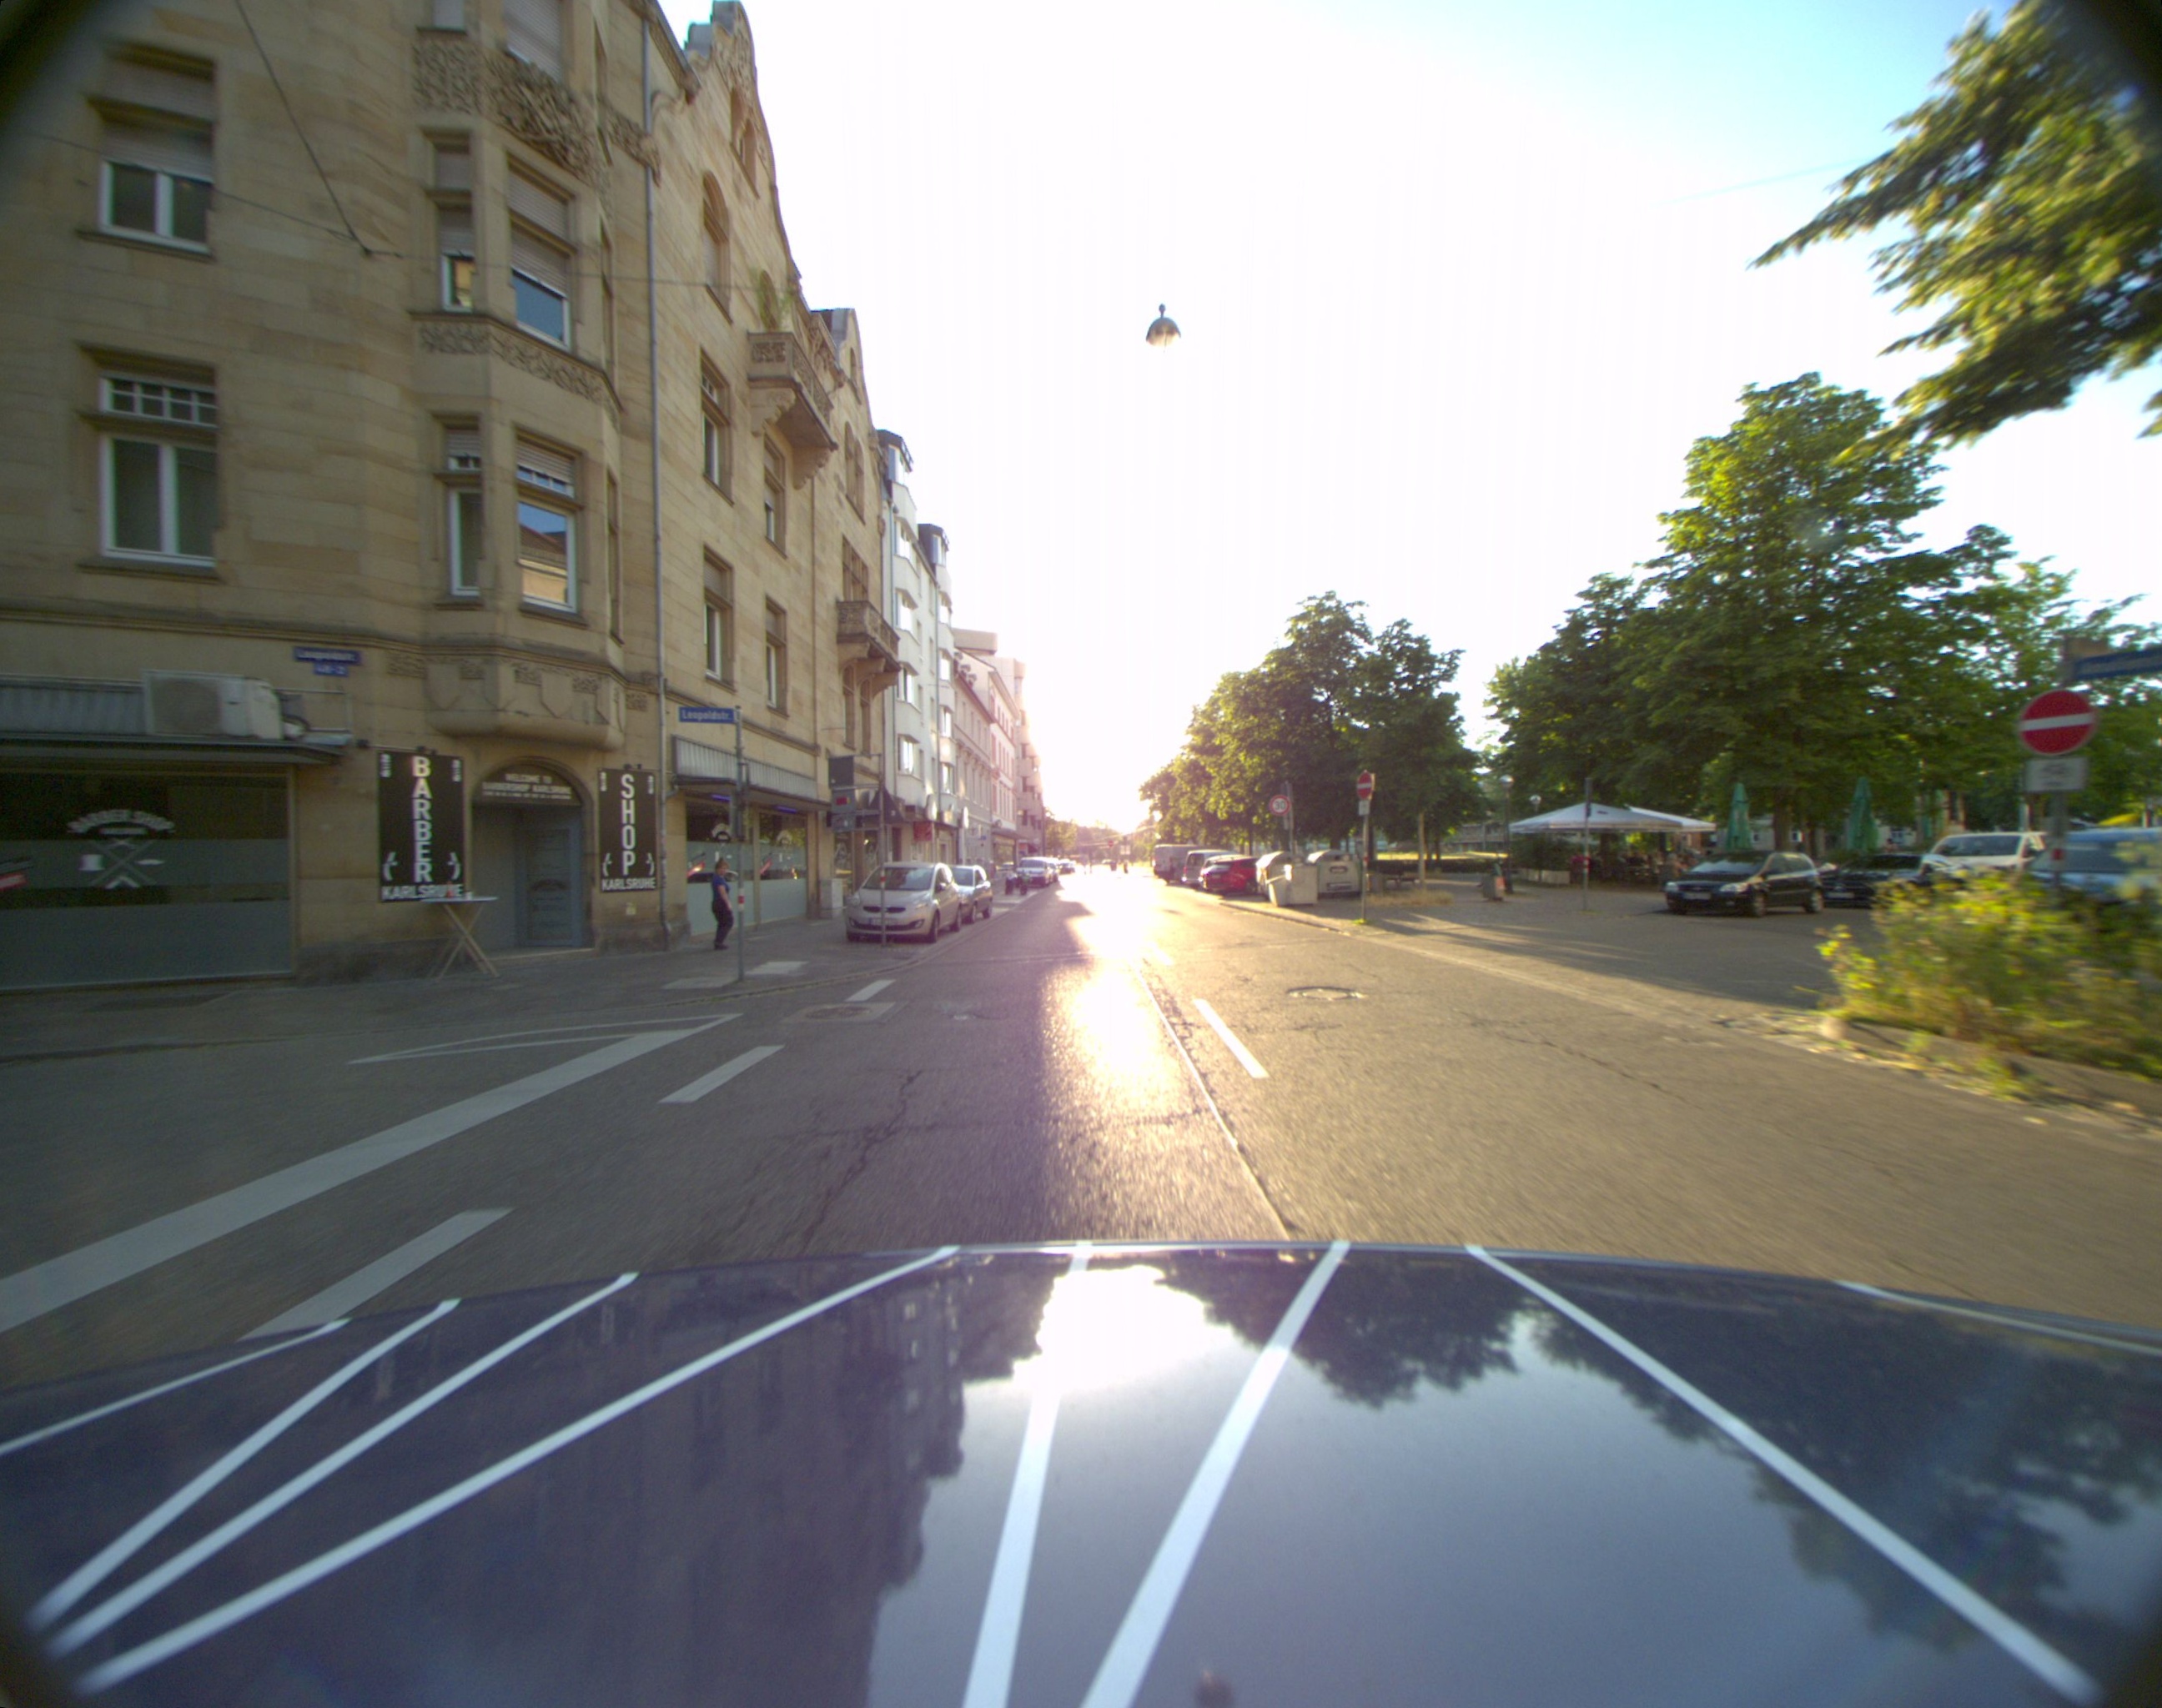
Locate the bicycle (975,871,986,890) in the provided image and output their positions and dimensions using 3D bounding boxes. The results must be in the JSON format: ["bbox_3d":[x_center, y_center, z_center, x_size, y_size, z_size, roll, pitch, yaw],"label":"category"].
[{"bbox_3d":[-5.925,1.542,44.711,0.456,1.006,1.711,-2,1,-13],"label":"bicycle"}]

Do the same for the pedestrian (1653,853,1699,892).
[{"bbox_3d":[18.690,0.583,23.881,0.797,1.192,0.851,0,0,-4],"label":"pedestrian"}]

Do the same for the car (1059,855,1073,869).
[{"bbox_3d":[-1.944,1.061,101.782,1.788,1.793,4.401,-2,-1,-1],"label":"car"}]

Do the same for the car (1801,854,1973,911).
[{"bbox_3d":[20.652,0.692,19.476,3.776,1.230,1.827,-2,-1,-24],"label":"car"}]

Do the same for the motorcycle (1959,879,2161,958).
[{"bbox_3d":[14.152,0.914,10.775,2.094,1.025,0.748,-3,0,23],"label":"motorcycle"}]

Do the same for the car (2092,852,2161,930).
[{"bbox_3d":[22.499,0.686,15.315,3.841,1.403,1.539,-2,0,-21],"label":"car"}]

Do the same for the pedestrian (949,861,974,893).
[{"bbox_3d":[-5.732,1.089,36.516,0.957,1.478,0.992,-2,0,1],"label":"pedestrian"}]

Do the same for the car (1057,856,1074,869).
[{"bbox_3d":[-1.926,1.019,93.005,1.794,1.498,3.921,-2,-1,2],"label":"car"}]

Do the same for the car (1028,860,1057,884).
[{"bbox_3d":[-2.672,1.224,53.283,1.671,1.535,3.883,-2,-1,1],"label":"car"}]

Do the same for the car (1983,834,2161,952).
[{"bbox_3d":[17.076,0.525,12.355,4.438,1.667,1.956,-1,-1,-25],"label":"car"}]

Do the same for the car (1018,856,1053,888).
[{"bbox_3d":[-2.771,1.076,46.980,1.714,1.824,4.307,-2,-1,2],"label":"car"}]

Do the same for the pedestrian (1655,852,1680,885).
[{"bbox_3d":[21.232,0.533,27.528,0.534,1.167,0.527,0,0,8],"label":"pedestrian"}]

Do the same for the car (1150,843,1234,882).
[{"bbox_3d":[6.938,0.514,47.469,4.619,2.238,2.199,-2,0,-26],"label":"car"}]

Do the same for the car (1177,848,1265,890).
[{"bbox_3d":[6.875,0.700,37.176,4.007,1.867,1.866,-2,-1,-35],"label":"car"}]

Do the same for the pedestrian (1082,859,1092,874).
[{"bbox_3d":[0.577,1.151,71.232,0.565,1.356,0.612,-2,0,-44],"label":"pedestrian"}]

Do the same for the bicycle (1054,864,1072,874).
[{"bbox_3d":[-1.818,1.517,76.346,1.789,0.984,0.543,1,-1,24],"label":"bicycle"}]

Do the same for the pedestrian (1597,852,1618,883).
[{"bbox_3d":[20.859,0.547,30.110,0.534,1.209,0.527,0,0,8],"label":"pedestrian"}]

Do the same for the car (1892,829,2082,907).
[{"bbox_3d":[26.185,0.363,21.964,4.836,1.975,2.040,-2,0,-21],"label":"car"}]

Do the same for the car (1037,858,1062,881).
[{"bbox_3d":[-2.441,1.183,59.585,1.661,1.655,4.108,-2,0,0],"label":"car"}]

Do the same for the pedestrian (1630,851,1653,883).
[{"bbox_3d":[21.200,0.493,28.742,0.534,1.167,0.527,0,0,8],"label":"pedestrian"}]

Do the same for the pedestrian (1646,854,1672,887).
[{"bbox_3d":[20.590,0.578,27.067,0.534,1.167,0.527,0,0,8],"label":"pedestrian"}]

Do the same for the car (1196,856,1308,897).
[{"bbox_3d":[6.845,0.867,30.353,4.006,1.477,1.996,-1,0,-28],"label":"car"}]

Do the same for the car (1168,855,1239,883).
[{"bbox_3d":[7.090,0.868,43.906,4.008,1.459,1.878,-2,-1,-41],"label":"car"}]

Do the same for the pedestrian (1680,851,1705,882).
[{"bbox_3d":[23.015,0.476,28.606,0.534,1.167,0.527,0,0,8],"label":"pedestrian"}]

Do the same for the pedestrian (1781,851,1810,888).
[{"bbox_3d":[25.116,0.543,26.699,0.534,1.268,0.527,0,0,8],"label":"pedestrian"}]

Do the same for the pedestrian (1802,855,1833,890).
[{"bbox_3d":[24.683,0.628,25.477,0.534,1.167,0.527,0,0,8],"label":"pedestrian"}]

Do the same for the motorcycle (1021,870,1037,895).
[{"bbox_3d":[-2.564,1.398,37.766,0.589,1.193,2.210,-2,-1,1],"label":"motorcycle"}]

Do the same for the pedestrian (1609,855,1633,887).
[{"bbox_3d":[19.286,0.607,27.151,0.534,1.147,0.527,0,0,8],"label":"pedestrian"}]

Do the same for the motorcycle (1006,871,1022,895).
[{"bbox_3d":[-3.371,1.433,38.347,0.589,1.116,2.210,-2,-1,1],"label":"motorcycle"}]

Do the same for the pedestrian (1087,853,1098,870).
[{"bbox_3d":[1.072,0.736,71.919,0.701,1.549,0.693,0,-2,-44],"label":"pedestrian"}]

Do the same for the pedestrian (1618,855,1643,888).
[{"bbox_3d":[19.223,0.603,26.593,0.534,1.148,0.527,0,0,8],"label":"pedestrian"}]

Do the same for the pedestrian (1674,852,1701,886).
[{"bbox_3d":[21.381,0.531,26.792,0.534,1.167,0.527,0,0,8],"label":"pedestrian"}]

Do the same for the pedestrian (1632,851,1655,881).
[{"bbox_3d":[22.576,0.487,30.494,0.534,1.167,0.527,-2,0,8],"label":"pedestrian"}]

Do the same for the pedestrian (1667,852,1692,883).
[{"bbox_3d":[22.984,0.505,29.178,0.534,1.167,0.527,-2,0,8],"label":"pedestrian"}]

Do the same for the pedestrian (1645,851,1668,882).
[{"bbox_3d":[22.629,0.492,29.873,0.534,1.167,0.527,-2,0,8],"label":"pedestrian"}]

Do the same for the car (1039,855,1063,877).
[{"bbox_3d":[-2.569,0.989,65.201,1.797,1.781,4.092,-1,0,1],"label":"car"}]

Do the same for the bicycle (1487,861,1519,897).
[{"bbox_3d":[13.121,0.753,23.662,0.360,1.062,1.812,-2,-1,13],"label":"bicycle"}]

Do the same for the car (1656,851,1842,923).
[{"bbox_3d":[15.147,0.708,17.260,3.529,1.373,1.703,-2,-1,-21],"label":"car"}]

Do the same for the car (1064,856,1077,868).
[{"bbox_3d":[-1.460,1.153,107.110,1.645,1.519,4.001,-2,-1,2],"label":"car"}]

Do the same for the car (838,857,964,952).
[{"bbox_3d":[-3.702,0.966,16.303,1.700,1.759,4.000,-1,-1,0],"label":"car"}]

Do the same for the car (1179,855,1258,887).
[{"bbox_3d":[7.347,0.880,40.435,4.007,1.483,1.845,-3,0,-37],"label":"car"}]

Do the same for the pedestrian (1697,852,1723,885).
[{"bbox_3d":[23.092,0.532,27.899,0.534,1.167,0.527,0,0,8],"label":"pedestrian"}]

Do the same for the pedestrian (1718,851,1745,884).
[{"bbox_3d":[23.207,0.472,27.096,0.534,1.167,0.527,0,0,8],"label":"pedestrian"}]

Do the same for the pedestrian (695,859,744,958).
[{"bbox_3d":[-6.249,0.929,13.154,0.586,1.656,0.423,-2,0,-3],"label":"pedestrian"}]

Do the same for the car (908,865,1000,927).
[{"bbox_3d":[-3.435,1.082,21.216,1.684,1.552,4.001,0,-1,3],"label":"car"}]

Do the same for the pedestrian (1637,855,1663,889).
[{"bbox_3d":[19.835,0.630,26.495,0.534,1.149,0.527,1,1,8],"label":"pedestrian"}]

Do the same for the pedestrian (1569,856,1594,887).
[{"bbox_3d":[18.687,0.644,28.375,0.580,1.165,0.535,-1,0,8],"label":"pedestrian"}]

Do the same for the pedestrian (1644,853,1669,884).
[{"bbox_3d":[21.302,0.535,28.122,0.534,1.167,0.527,0,0,8],"label":"pedestrian"}]

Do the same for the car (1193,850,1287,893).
[{"bbox_3d":[7.107,0.757,33.825,4.006,1.686,1.745,-3,0,-35],"label":"car"}]
